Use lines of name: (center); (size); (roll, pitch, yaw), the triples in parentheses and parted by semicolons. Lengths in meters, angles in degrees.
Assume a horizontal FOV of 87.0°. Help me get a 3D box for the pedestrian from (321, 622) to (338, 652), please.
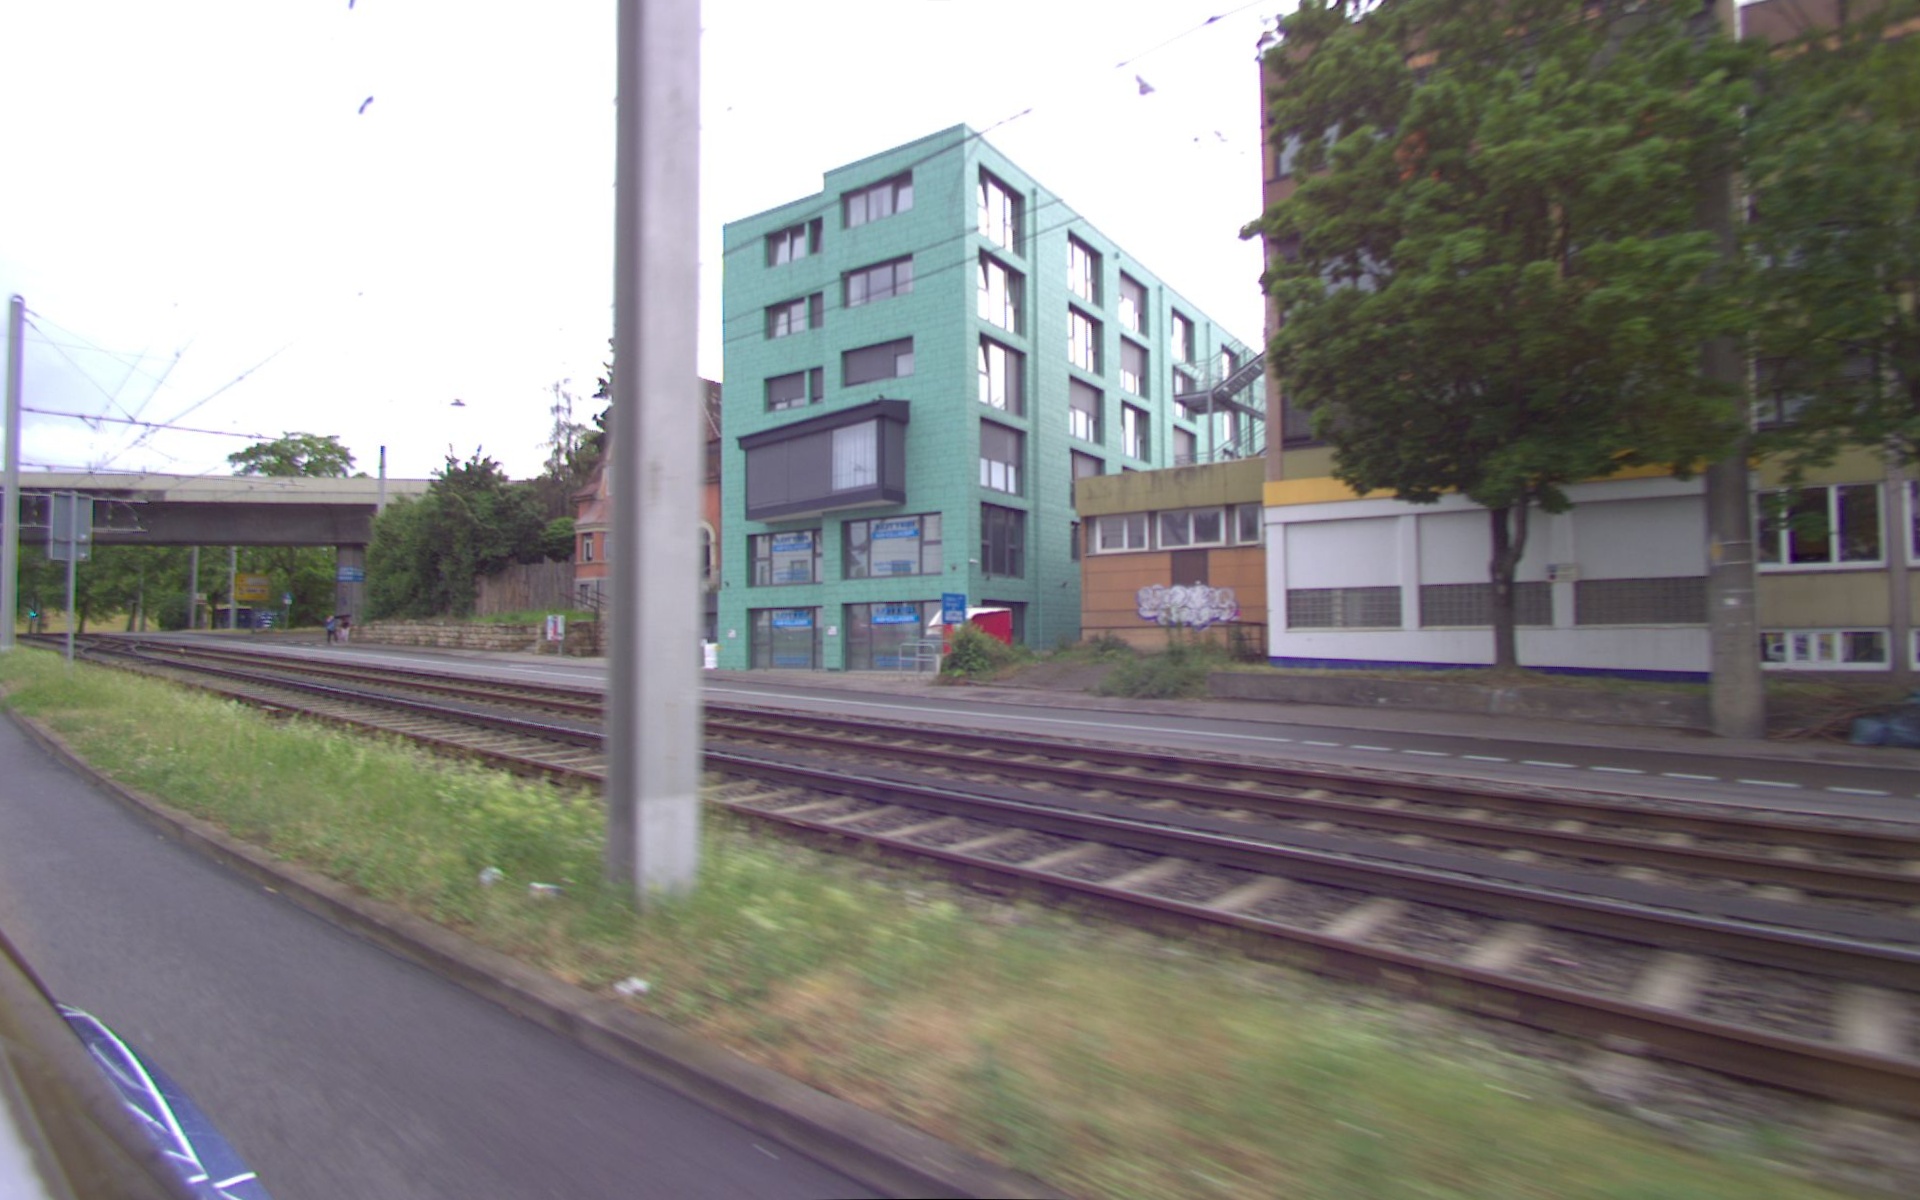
pedestrian: (-36.144, 2.103, 57.998); (0.685, 1.683, 0.888); (0, -2, -44)

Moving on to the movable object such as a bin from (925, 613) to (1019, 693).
movable object such as a bin: (0.364, 1.508, 29.266); (1.798, 2.173, 2.116); (-3, -1, 35)

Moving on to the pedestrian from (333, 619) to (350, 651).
pedestrian: (-36.065, 2.032, 59.011); (0.866, 1.845, 0.686); (-3, -2, 43)
